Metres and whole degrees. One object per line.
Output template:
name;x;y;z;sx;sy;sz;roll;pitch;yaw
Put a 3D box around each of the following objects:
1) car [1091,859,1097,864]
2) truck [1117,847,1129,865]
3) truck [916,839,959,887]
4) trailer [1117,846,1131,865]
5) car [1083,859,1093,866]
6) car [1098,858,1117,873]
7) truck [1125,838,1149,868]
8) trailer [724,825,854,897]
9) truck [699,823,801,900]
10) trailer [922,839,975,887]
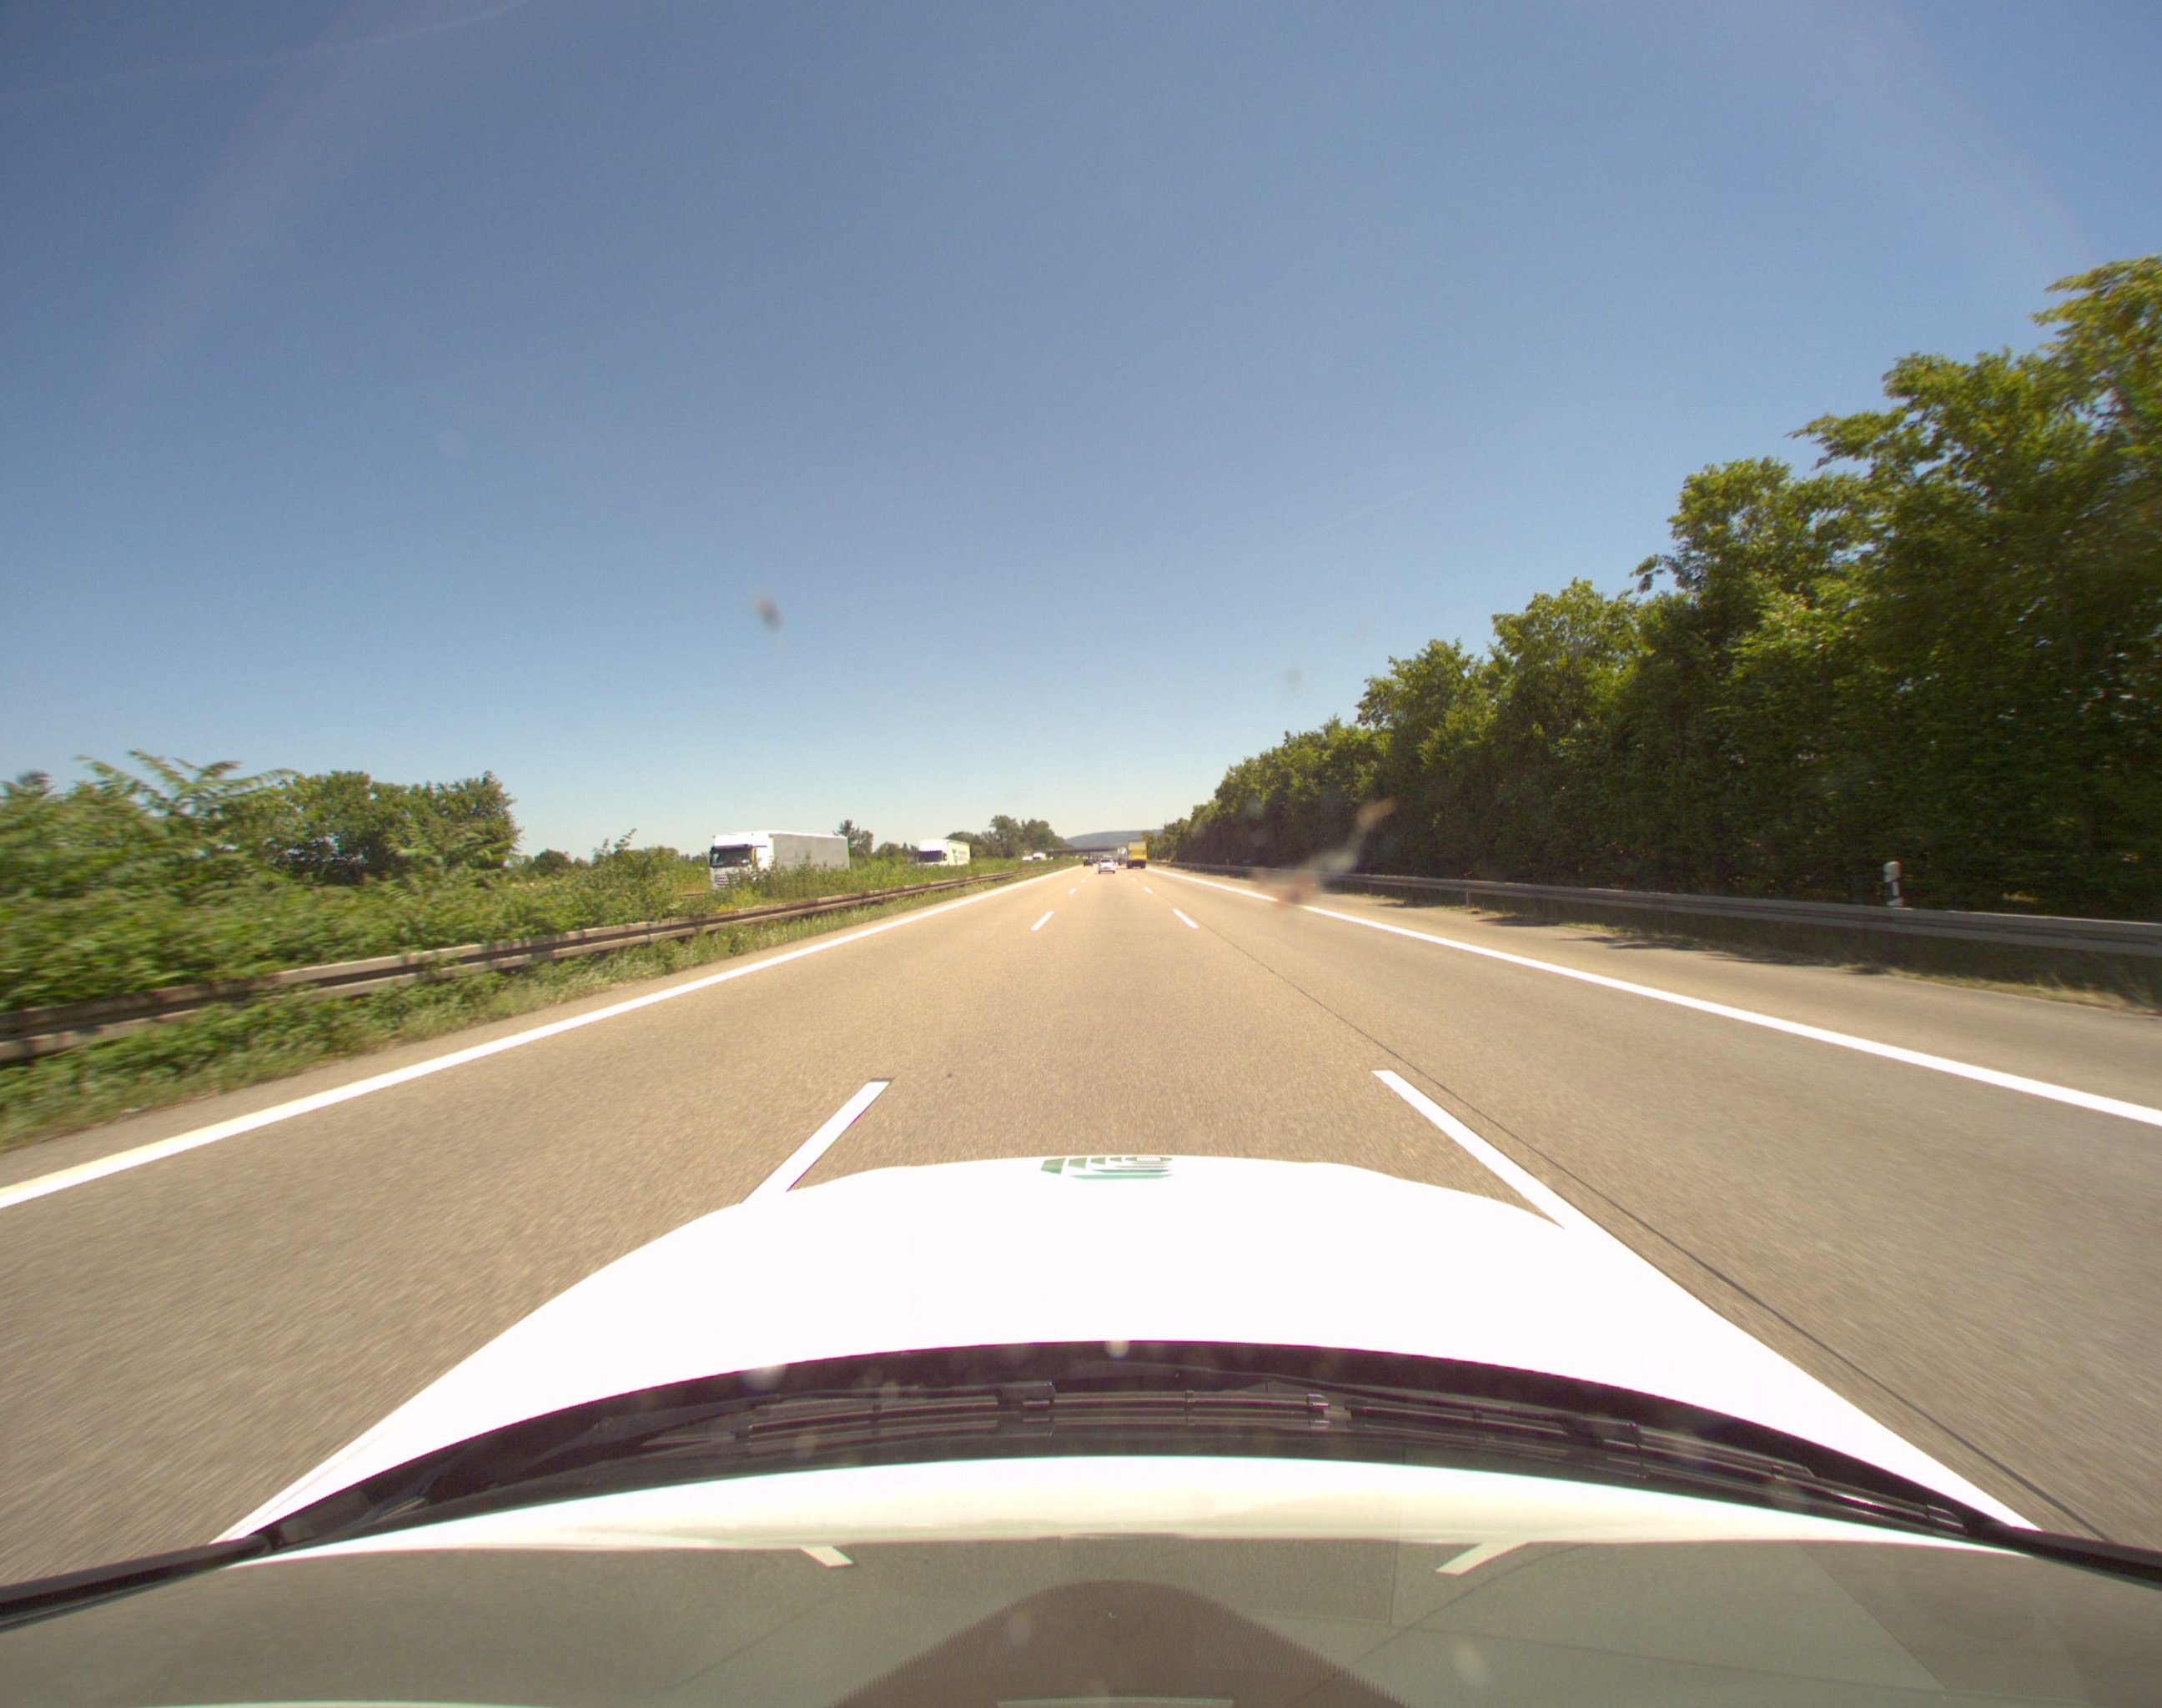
car;3.666;2.030;230.893;1.828;1.386;4.002;0;0;2
truck;9.384;0.434;182.148;2.564;4.072;6.394;0;-1;1
truck;-13.777;0.861;78.751;2.810;4.526;6.541;0;-1;2
trailer;9.257;0.390;176.877;2.570;4.074;11.105;0;-1;1
car;1.359;1.651;156.516;1.828;1.386;4.002;0;0;2
car;2.659;1.141;81.580;1.800;1.468;4.002;0;-1;2
truck;7.926;-0.093;116.549;2.923;4.200;10.684;0;-1;1
trailer;-18.549;0.472;53.330;2.943;4.058;14.330;0;0;2
truck;-18.774;0.421;46.672;2.940;4.063;6.541;0;-1;2
trailer;-13.566;0.911;85.024;2.810;4.526;13.871;0;0;2
